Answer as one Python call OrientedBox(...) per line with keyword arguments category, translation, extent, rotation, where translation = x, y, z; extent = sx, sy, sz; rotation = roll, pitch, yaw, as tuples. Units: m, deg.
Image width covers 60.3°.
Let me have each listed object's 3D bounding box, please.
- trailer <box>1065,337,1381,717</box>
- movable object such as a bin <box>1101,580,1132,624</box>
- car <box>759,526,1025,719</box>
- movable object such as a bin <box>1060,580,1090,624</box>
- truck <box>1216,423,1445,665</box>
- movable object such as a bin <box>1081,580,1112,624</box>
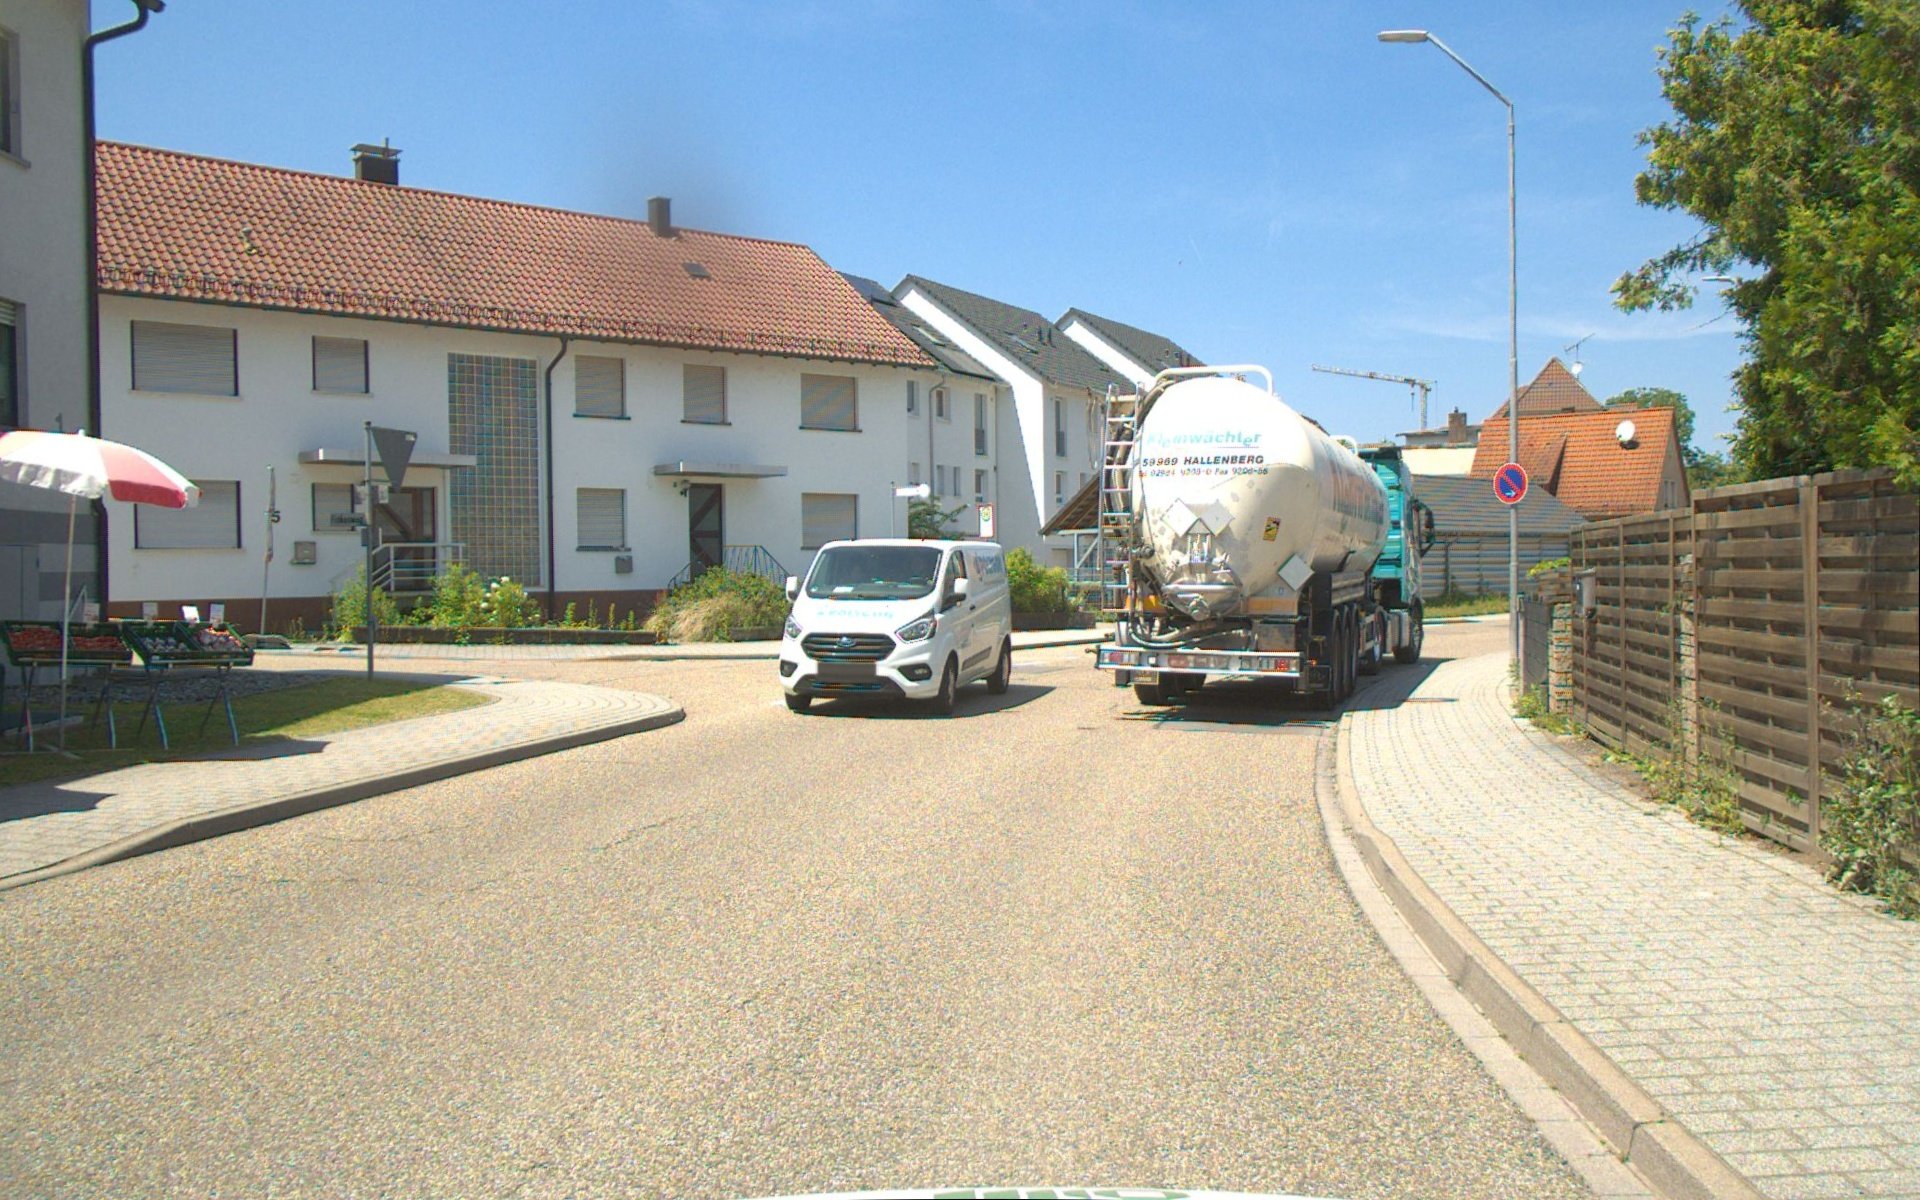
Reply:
OrientedBox(category="trailer", translation=(4.228, -0.838, 23.480), extent=(2.890, 4.017, 11.626), rotation=(0, 1, 17))
OrientedBox(category="movable object such as a bin", translation=(4.644, 0.051, 49.157), extent=(0.630, 1.301, 0.690), rotation=(1, 1, 41))
OrientedBox(category="car", translation=(-0.651, 0.178, 20.386), extent=(1.951, 2.034, 5.219), rotation=(1, 1, 13))
OrientedBox(category="movable object such as a bin", translation=(3.478, 0.059, 50.133), extent=(0.630, 1.301, 0.690), rotation=(1, 1, 41))
OrientedBox(category="truck", translation=(7.008, -0.970, 30.737), extent=(2.929, 4.034, 5.574), rotation=(0, 1, 26))
OrientedBox(category="movable object such as a bin", translation=(4.101, 0.055, 49.638), extent=(0.630, 1.301, 0.690), rotation=(1, 1, 41))
